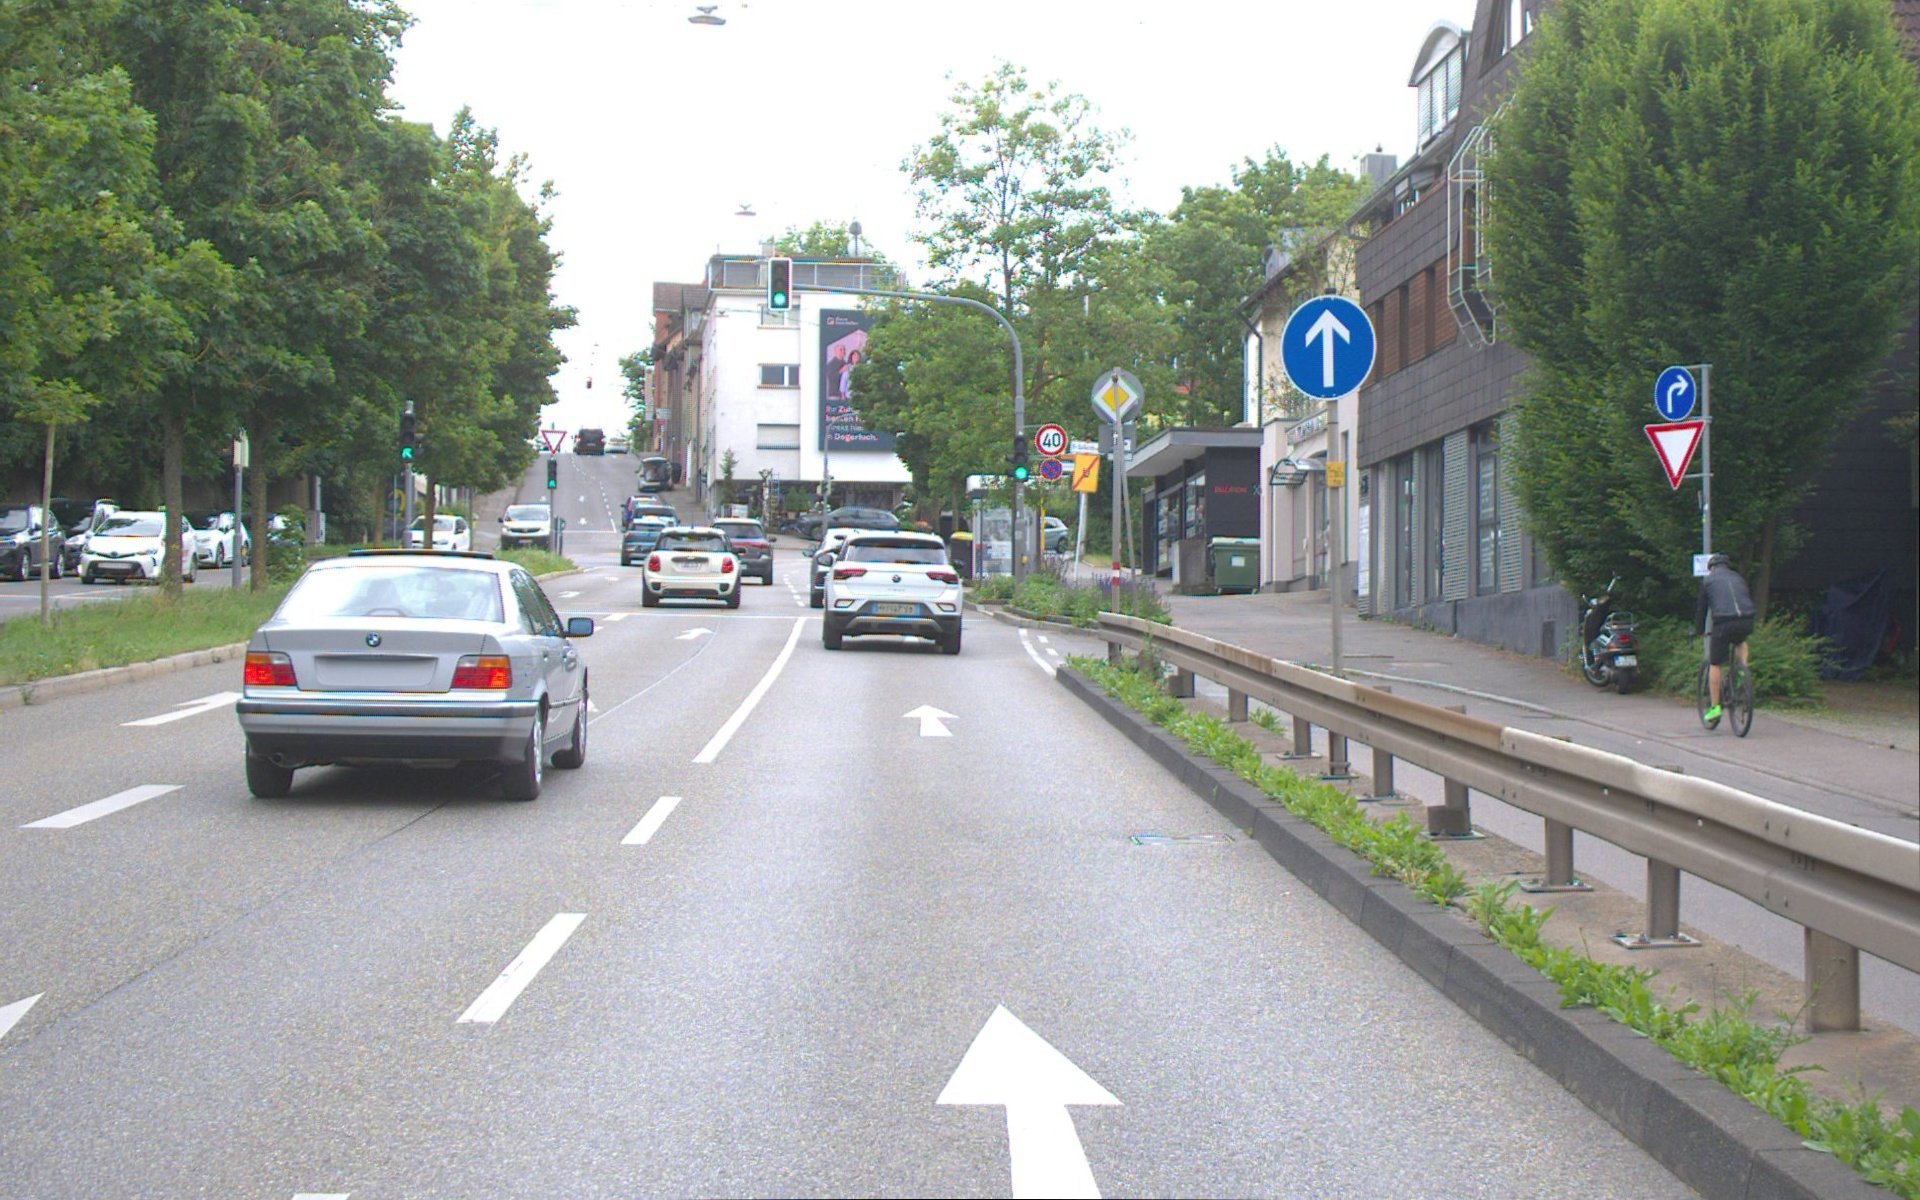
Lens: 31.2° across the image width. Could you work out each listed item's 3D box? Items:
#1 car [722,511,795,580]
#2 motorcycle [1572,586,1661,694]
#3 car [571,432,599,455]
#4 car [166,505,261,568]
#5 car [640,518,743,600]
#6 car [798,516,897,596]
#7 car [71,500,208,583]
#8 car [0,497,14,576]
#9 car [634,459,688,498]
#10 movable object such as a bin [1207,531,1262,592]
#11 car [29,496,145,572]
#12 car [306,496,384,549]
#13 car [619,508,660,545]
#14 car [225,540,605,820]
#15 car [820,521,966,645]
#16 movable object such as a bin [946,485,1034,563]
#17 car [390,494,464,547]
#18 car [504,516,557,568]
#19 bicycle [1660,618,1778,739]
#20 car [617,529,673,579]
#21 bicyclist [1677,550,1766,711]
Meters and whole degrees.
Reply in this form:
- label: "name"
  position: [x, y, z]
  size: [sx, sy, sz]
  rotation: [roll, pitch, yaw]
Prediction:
- label: "car"
  position: [-5.024, -1.345, 85.506]
  size: [1.722, 1.634, 3.457]
  rotation: [-2, 1, -4]
- label: "motorcycle"
  position: [7.673, 0.453, 40.247]
  size: [0.608, 1.158, 2.041]
  rotation: [-1, 2, -1]
- label: "car"
  position: [-26.188, -10.894, 239.982]
  size: [1.822, 1.503, 4.001]
  rotation: [2, 2, -5]
- label: "car"
  position: [-20.315, -1.752, 93.651]
  size: [1.860, 1.588, 4.280]
  rotation: [2, 2, -4]
- label: "car"
  position: [-4.761, -0.726, 61.276]
  size: [1.722, 1.371, 3.457]
  rotation: [-2, 1, -3]
- label: "car"
  position: [-2.095, -0.809, 63.165]
  size: [1.722, 1.371, 3.457]
  rotation: [-2, 1, -3]
- label: "car"
  position: [-17.771, -1.299, 74.610]
  size: [1.860, 1.664, 4.280]
  rotation: [2, 2, 1]
- label: "car"
  position: [-21.021, -1.325, 71.211]
  size: [1.860, 1.664, 4.280]
  rotation: [2, 2, -4]
- label: "car"
  position: [-16.414, -6.661, 189.145]
  size: [2.510, 2.006, 5.182]
  rotation: [2, 2, -1]
- label: "movable object such as a bin"
  position: [6.627, -0.924, 82.934]
  size: [1.195, 1.403, 0.711]
  rotation: [2, 2, -2]
- label: "car"
  position: [-20.644, -1.592, 81.468]
  size: [1.860, 1.664, 4.280]
  rotation: [2, 2, -4]
- label: "car"
  position: [-19.125, -2.424, 106.994]
  size: [1.860, 1.535, 4.280]
  rotation: [2, 2, -4]
- label: "car"
  position: [-14.355, -3.283, 154.091]
  size: [1.722, 1.577, 3.457]
  rotation: [-2, 1, -4]
- label: "car"
  position: [-3.153, 0.389, 20.687]
  size: [1.634, 1.378, 4.620]
  rotation: [2, 2, -2]
- label: "car"
  position: [-0.897, -0.235, 45.168]
  size: [1.797, 1.514, 3.457]
  rotation: [-2, 1, -2]
- label: "movable object such as a bin"
  position: [0.746, -1.902, 85.857]
  size: [1.891, 1.863, 1.529]
  rotation: [2, 2, -10]
- label: "car"
  position: [-16.640, -2.495, 107.501]
  size: [1.860, 1.535, 4.280]
  rotation: [2, 2, -4]
- label: "car"
  position: [-16.057, -2.175, 128.569]
  size: [1.668, 1.859, 3.245]
  rotation: [-1, 2, -3]
- label: "bicycle"
  position: [7.451, 0.752, 33.823]
  size: [0.566, 1.059, 2.006]
  rotation: [-2, 2, -4]
- label: "car"
  position: [-10.508, -1.539, 114.879]
  size: [1.722, 1.577, 3.457]
  rotation: [-2, 1, -4]
- label: "bicyclist"
  position: [7.455, 0.288, 33.690]
  size: [0.566, 1.519, 0.959]
  rotation: [-2, 2, -4]
